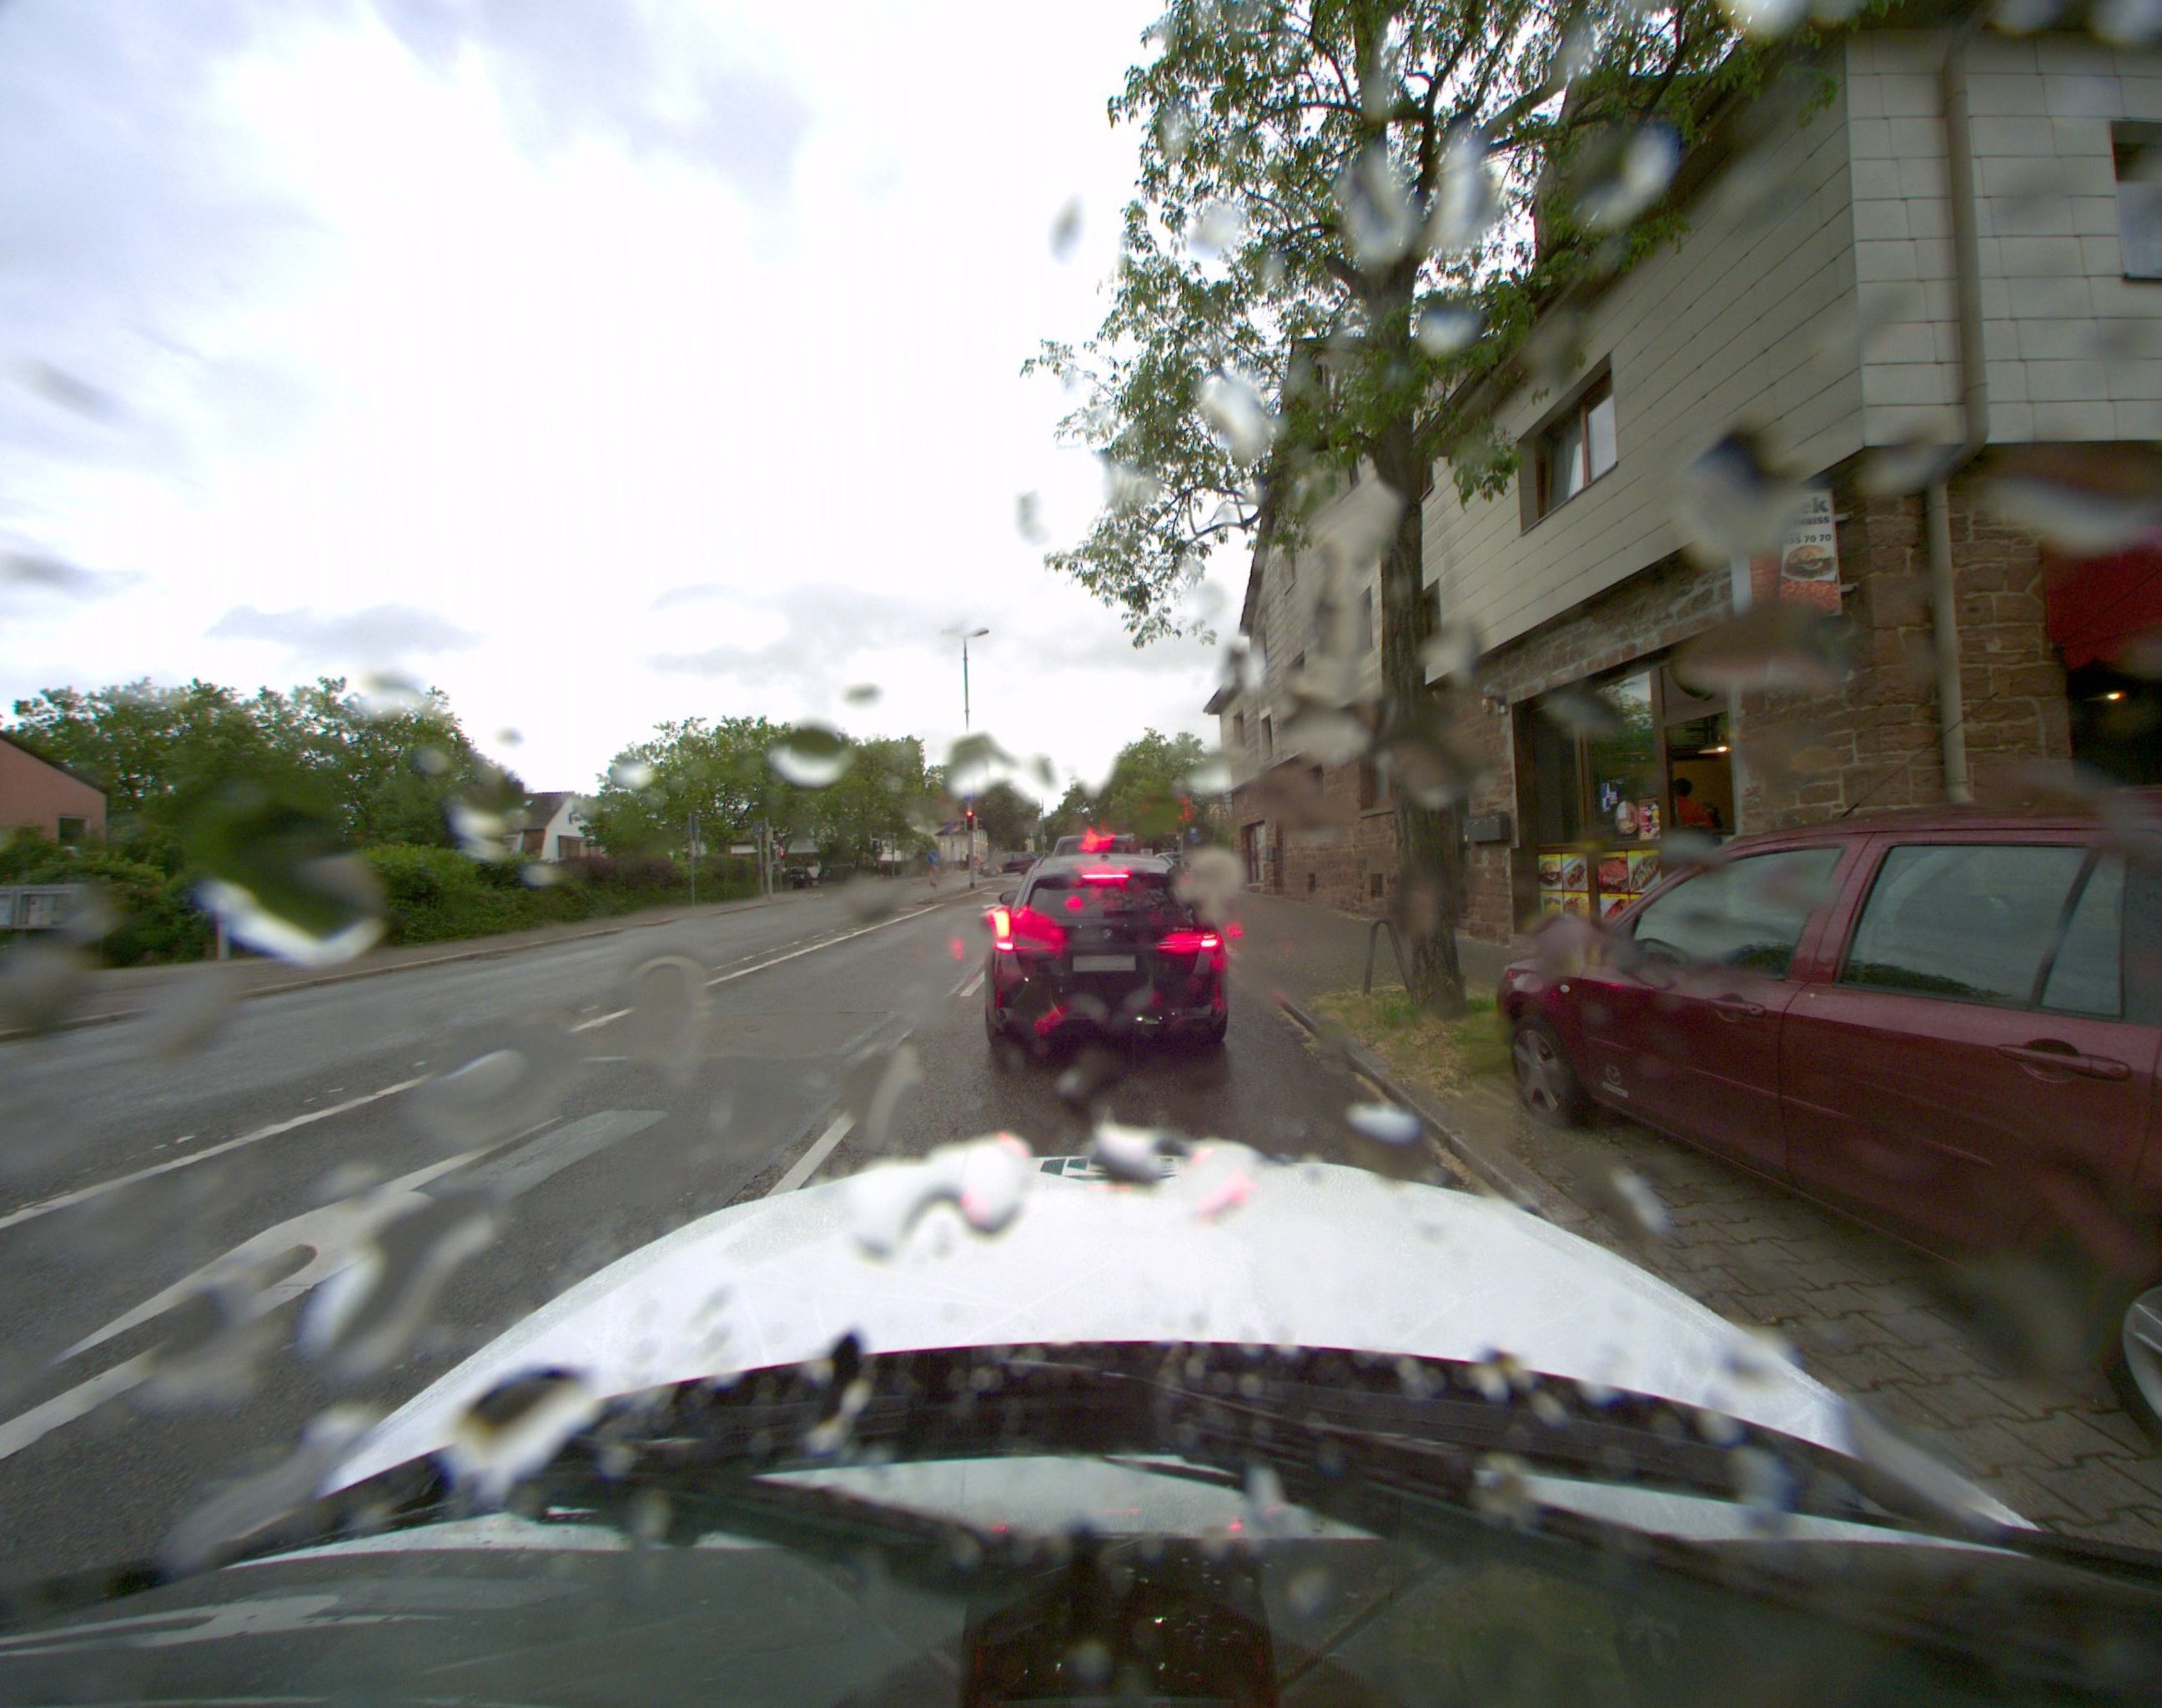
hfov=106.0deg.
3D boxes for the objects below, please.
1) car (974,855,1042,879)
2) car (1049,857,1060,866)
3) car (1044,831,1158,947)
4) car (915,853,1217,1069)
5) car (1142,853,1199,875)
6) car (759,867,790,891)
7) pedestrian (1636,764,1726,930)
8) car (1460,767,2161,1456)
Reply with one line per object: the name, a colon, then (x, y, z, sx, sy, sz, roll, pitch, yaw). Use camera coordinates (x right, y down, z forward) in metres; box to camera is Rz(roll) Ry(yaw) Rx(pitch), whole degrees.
car: (-5.184, 0.905, 57.654, 4.479, 1.587, 2.059, -1, 0, -17)
car: (-3.986, 1.132, 123.084, 1.459, 1.398, 3.322, -1, 0, 1)
car: (0.313, 0.546, 15.090, 1.778, 1.817, 3.999, -2, 0, 0)
car: (-0.119, 0.732, 7.835, 2.058, 1.446, 4.481, -1, 0, -1)
car: (6.546, 0.704, 59.821, 3.932, 1.510, 1.998, -2, 0, -3)
car: (-21.753, 1.747, 57.918, 2.000, 1.552, 3.973, -2, 0, -20)
pedestrian: (6.899, -0.078, 9.384, 0.635, 1.839, 0.483, -1, 0, 1)
car: (3.057, 0.498, 2.916, 1.579, 1.490, 3.626, -4, 0, -1)
